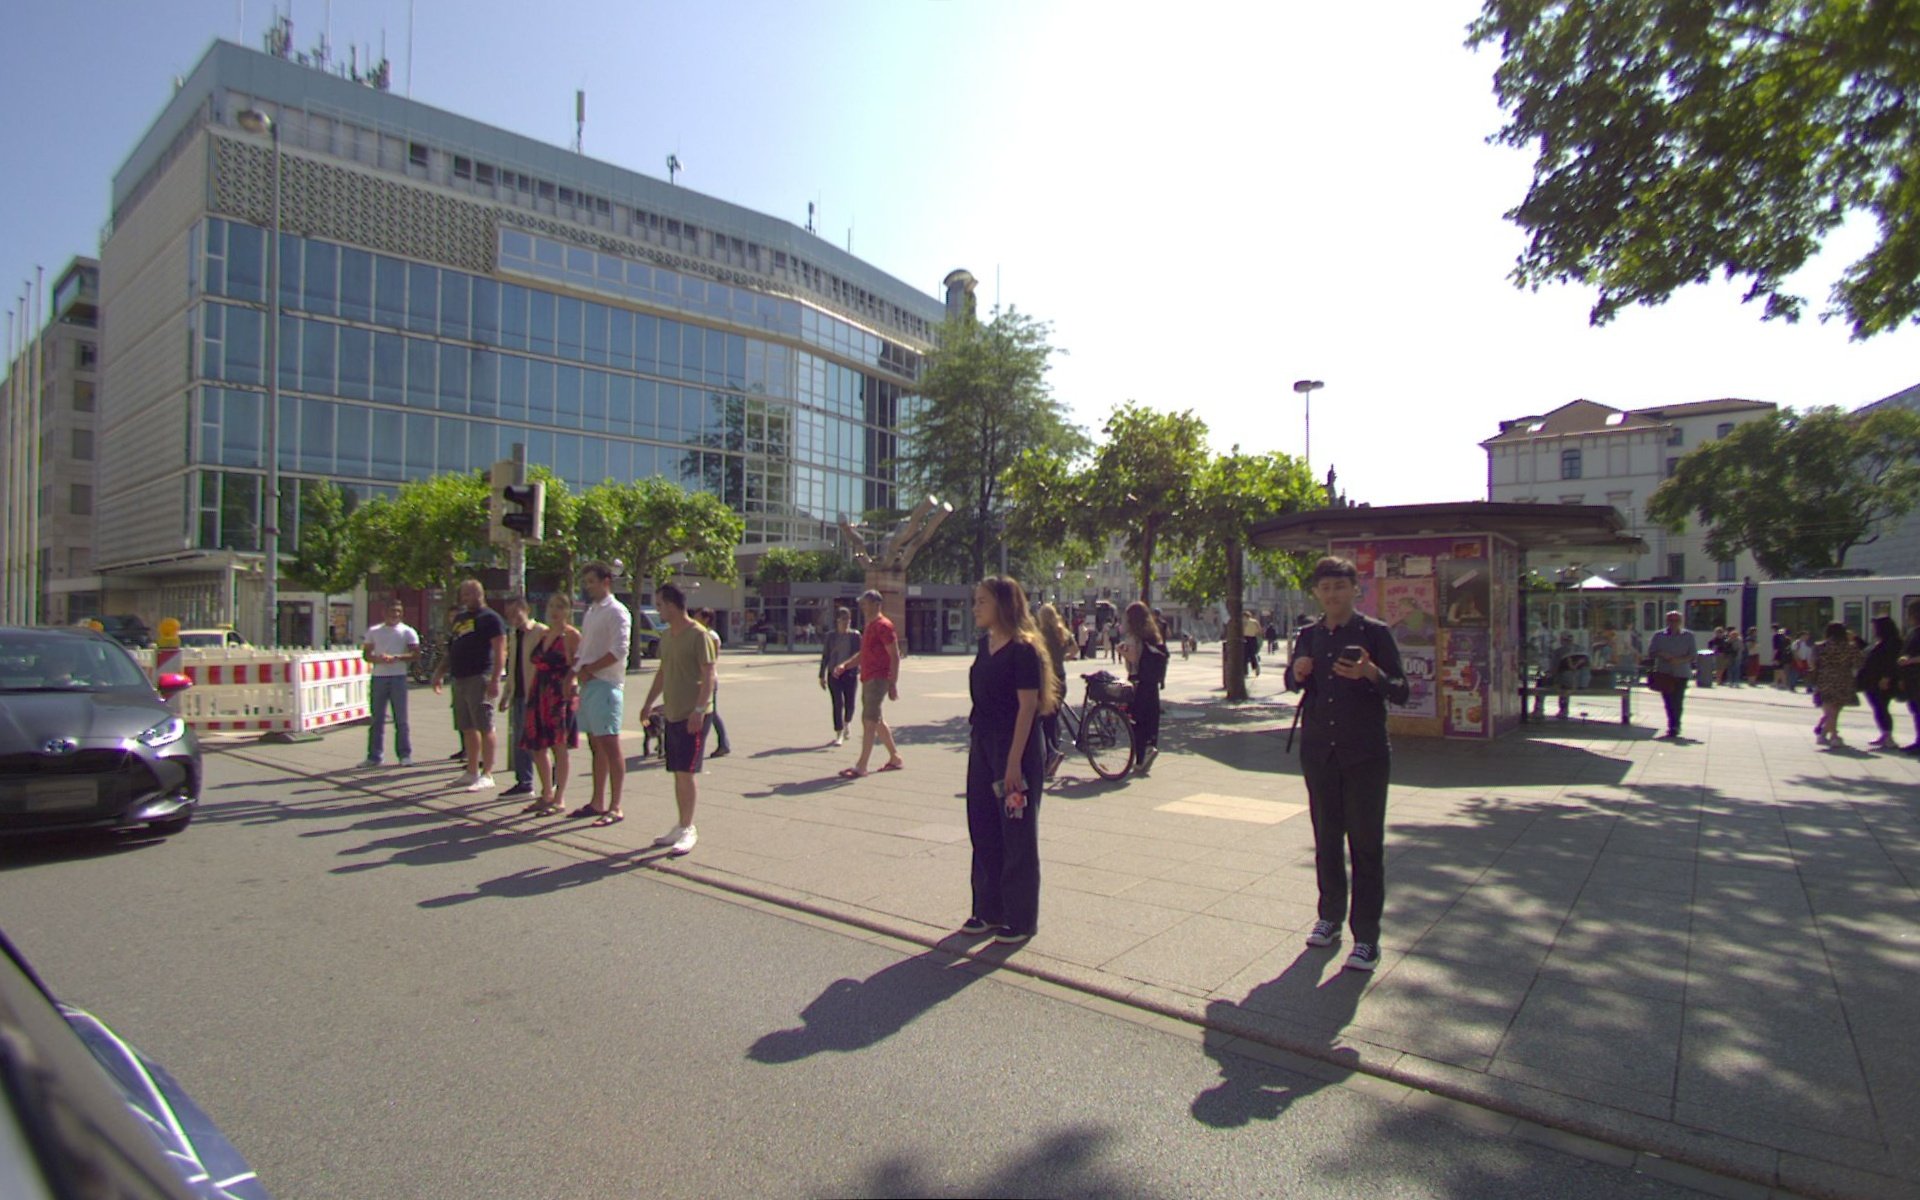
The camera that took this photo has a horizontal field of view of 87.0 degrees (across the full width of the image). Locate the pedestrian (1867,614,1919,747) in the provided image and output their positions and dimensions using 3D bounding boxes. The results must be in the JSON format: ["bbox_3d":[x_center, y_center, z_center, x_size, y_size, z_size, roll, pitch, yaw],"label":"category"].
[{"bbox_3d":[11.207,0.938,12.120,0.484,1.537,0.456,-1,0,-43],"label":"pedestrian"}]

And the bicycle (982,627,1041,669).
[{"bbox_3d":[1.708,1.550,33.105,0.732,1.254,2.327,-1,0,38],"label":"bicycle"}]

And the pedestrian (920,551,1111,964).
[{"bbox_3d":[0.257,0.658,4.654,0.651,1.727,0.568,-1,0,39],"label":"pedestrian"}]

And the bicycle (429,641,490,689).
[{"bbox_3d":[-12.832,1.644,25.921,1.753,1.156,0.586,-1,-2,33],"label":"bicycle"}]

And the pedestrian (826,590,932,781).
[{"bbox_3d":[-0.781,0.790,9.857,0.730,1.760,0.744,-1,0,30],"label":"pedestrian"}]

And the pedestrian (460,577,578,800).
[{"bbox_3d":[-3.691,0.701,8.476,0.732,1.760,0.631,-1,0,39],"label":"pedestrian"}]

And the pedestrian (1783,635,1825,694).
[{"bbox_3d":[22.324,1.691,26.770,0.547,1.484,0.759,-1,0,-42],"label":"pedestrian"}]

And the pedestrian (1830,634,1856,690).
[{"bbox_3d":[24.180,1.686,27.714,0.547,1.484,0.456,-1,0,-43],"label":"pedestrian"}]

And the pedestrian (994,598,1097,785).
[{"bbox_3d":[0.810,0.833,9.657,0.721,1.683,0.641,-1,0,-36],"label":"pedestrian"}]

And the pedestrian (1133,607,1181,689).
[{"bbox_3d":[4.395,1.055,22.572,0.732,1.760,0.866,-1,0,38],"label":"pedestrian"}]

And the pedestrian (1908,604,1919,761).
[{"bbox_3d":[10.997,0.916,11.336,0.547,1.740,0.492,-1,0,-43],"label":"pedestrian"}]

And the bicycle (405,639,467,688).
[{"bbox_3d":[-13.152,1.573,25.378,1.753,1.156,0.586,-1,-2,33],"label":"bicycle"}]

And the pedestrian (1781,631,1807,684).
[{"bbox_3d":[24.237,1.665,29.406,0.555,1.484,0.748,-1,0,40],"label":"pedestrian"}]

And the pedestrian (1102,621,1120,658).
[{"bbox_3d":[6.170,1.628,41.394,0.554,1.484,0.534,-1,0,36],"label":"pedestrian"}]

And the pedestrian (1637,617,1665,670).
[{"bbox_3d":[19.977,1.244,29.254,0.547,1.484,0.532,-1,0,-43],"label":"pedestrian"}]

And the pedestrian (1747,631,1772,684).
[{"bbox_3d":[23.480,1.675,29.725,0.555,1.484,0.748,-1,0,40],"label":"pedestrian"}]

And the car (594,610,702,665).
[{"bbox_3d":[-12.286,1.425,39.801,3.988,2.029,1.978,-1,0,33],"label":"car"}]

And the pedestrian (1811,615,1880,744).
[{"bbox_3d":[10.607,0.929,12.121,0.449,1.484,0.556,-1,0,-42],"label":"pedestrian"}]

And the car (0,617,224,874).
[{"bbox_3d":[-6.962,0.890,7.333,3.998,1.486,1.758,-1,-4,41],"label":"car"}]

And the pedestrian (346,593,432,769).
[{"bbox_3d":[-5.977,0.818,10.628,0.720,1.760,0.642,-1,0,-25],"label":"pedestrian"}]

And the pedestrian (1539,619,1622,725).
[{"bbox_3d":[9.294,1.063,15.188,0.772,1.518,0.751,-1,0,3],"label":"pedestrian"}]

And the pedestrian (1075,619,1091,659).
[{"bbox_3d":[4.677,1.470,38.546,0.410,1.484,0.459,-1,0,38],"label":"pedestrian"}]

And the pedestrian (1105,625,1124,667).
[{"bbox_3d":[5.252,1.567,34.357,0.436,1.394,0.458,-1,0,39],"label":"pedestrian"}]

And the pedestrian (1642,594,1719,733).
[{"bbox_3d":[9.535,0.810,13.388,0.782,1.760,0.742,-1,0,39],"label":"pedestrian"}]

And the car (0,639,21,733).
[{"bbox_3d":[-16.789,1.291,16.472,3.998,1.415,1.677,-1,-7,41],"label":"car"}]

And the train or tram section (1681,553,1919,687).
[{"bbox_3d":[28.355,0.569,31.892,2.577,3.856,9.547,-1,0,-16],"label":"train or tram section"}]

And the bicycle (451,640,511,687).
[{"bbox_3d":[-12.515,1.647,26.434,1.753,1.156,0.586,-1,-2,33],"label":"bicycle"}]

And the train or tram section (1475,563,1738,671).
[{"bbox_3d":[25.660,0.603,41.026,2.577,3.856,9.547,-1,0,-16],"label":"train or tram section"}]

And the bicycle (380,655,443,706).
[{"bbox_3d":[-13.460,1.965,24.828,1.753,1.156,0.586,-1,-2,33],"label":"bicycle"}]

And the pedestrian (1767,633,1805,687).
[{"bbox_3d":[23.311,1.677,28.563,0.547,1.484,0.759,-1,0,-42],"label":"pedestrian"}]

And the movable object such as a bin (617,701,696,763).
[{"bbox_3d":[-3.354,1.447,11.202,0.528,0.584,0.654,-1,0,38],"label":"movable object such as a bin"}]

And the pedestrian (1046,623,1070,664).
[{"bbox_3d":[3.605,1.590,37.278,0.554,1.484,0.748,-1,0,38],"label":"pedestrian"}]

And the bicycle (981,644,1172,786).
[{"bbox_3d":[1.075,1.044,9.788,0.718,1.152,1.917,-1,0,-36],"label":"bicycle"}]

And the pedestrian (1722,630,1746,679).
[{"bbox_3d":[23.869,1.669,31.195,0.555,1.484,0.748,-1,0,40],"label":"pedestrian"}]

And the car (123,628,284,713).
[{"bbox_3d":[-20.701,1.858,27.928,1.968,2.029,4.008,-1,0,-10],"label":"car"}]

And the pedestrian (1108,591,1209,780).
[{"bbox_3d":[1.941,0.794,9.906,0.721,1.760,0.641,-1,0,-36],"label":"pedestrian"}]

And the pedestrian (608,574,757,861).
[{"bbox_3d":[-1.831,0.722,6.682,0.732,1.760,0.631,-1,0,39],"label":"pedestrian"}]

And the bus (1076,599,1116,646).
[{"bbox_3d":[8.989,1.349,66.891,2.362,2.811,12.155,-1,0,8],"label":"bus"}]

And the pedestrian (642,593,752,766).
[{"bbox_3d":[-2.829,0.813,10.917,0.732,1.760,0.866,-1,0,38],"label":"pedestrian"}]

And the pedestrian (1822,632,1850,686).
[{"bbox_3d":[24.812,1.658,28.661,0.555,1.484,0.748,-1,0,40],"label":"pedestrian"}]

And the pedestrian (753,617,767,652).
[{"bbox_3d":[-8.610,1.479,43.618,0.399,1.484,0.460,-1,0,24],"label":"pedestrian"}]

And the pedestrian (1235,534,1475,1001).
[{"bbox_3d":[1.724,0.631,4.388,0.732,1.760,0.866,-1,0,38],"label":"pedestrian"}]

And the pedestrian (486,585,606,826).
[{"bbox_3d":[-3.196,0.772,7.826,0.605,1.760,0.631,-1,0,39],"label":"pedestrian"}]

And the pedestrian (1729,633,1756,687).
[{"bbox_3d":[22.304,1.691,28.842,0.555,1.484,0.748,-1,0,40],"label":"pedestrian"}]

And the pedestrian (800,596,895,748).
[{"bbox_3d":[-1.360,0.837,12.294,0.882,1.760,0.715,-1,0,30],"label":"pedestrian"}]

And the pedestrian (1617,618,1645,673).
[{"bbox_3d":[18.703,1.261,28.215,0.547,1.484,0.532,-1,0,-43],"label":"pedestrian"}]

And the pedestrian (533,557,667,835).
[{"bbox_3d":[-2.669,0.666,7.510,0.732,1.928,0.631,-1,0,39],"label":"pedestrian"}]

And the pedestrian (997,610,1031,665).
[{"bbox_3d":[1.762,1.201,33.174,0.732,1.760,0.866,-1,0,38],"label":"pedestrian"}]

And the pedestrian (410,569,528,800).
[{"bbox_3d":[-4.369,0.707,9.005,0.859,1.934,0.631,-1,0,39],"label":"pedestrian"}]

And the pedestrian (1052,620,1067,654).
[{"bbox_3d":[4.460,1.650,45.174,0.550,1.484,0.537,-1,0,17],"label":"pedestrian"}]

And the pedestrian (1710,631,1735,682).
[{"bbox_3d":[22.786,1.684,30.253,0.555,1.484,0.748,-1,0,40],"label":"pedestrian"}]

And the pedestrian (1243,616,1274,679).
[{"bbox_3d":[7.873,1.242,26.711,0.589,1.605,0.562,-1,0,39],"label":"pedestrian"}]

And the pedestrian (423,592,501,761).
[{"bbox_3d":[-5.413,0.805,11.027,0.720,1.760,0.642,-1,0,-25],"label":"pedestrian"}]
